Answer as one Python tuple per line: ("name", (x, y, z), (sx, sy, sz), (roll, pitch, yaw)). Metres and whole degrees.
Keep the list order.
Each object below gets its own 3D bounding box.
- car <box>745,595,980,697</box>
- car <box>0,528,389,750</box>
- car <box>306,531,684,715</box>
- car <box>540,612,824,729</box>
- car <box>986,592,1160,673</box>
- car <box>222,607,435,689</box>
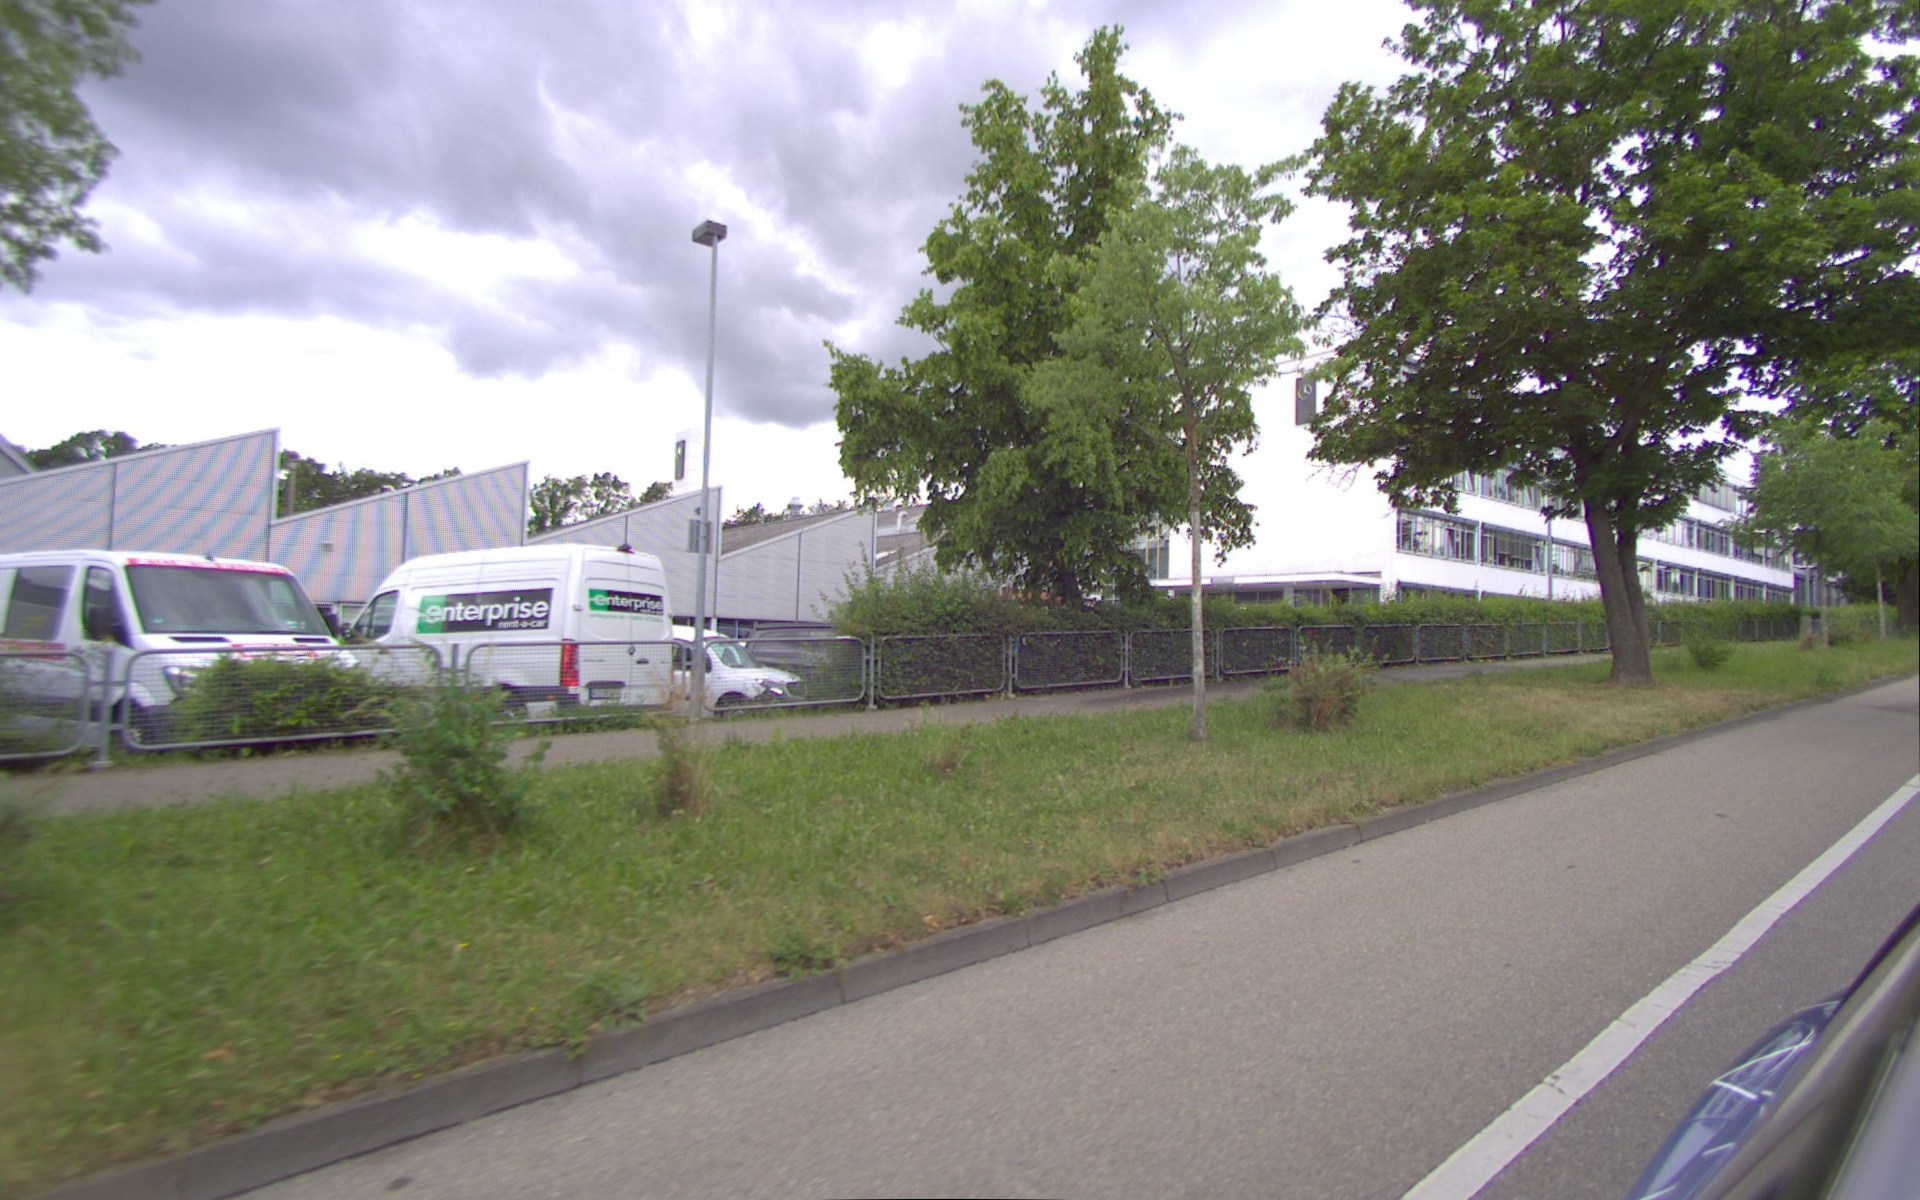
("car", (-1.932, 0.882, 20.196), (4.302, 1.867, 1.909), (-1, -1, 21))
("car", (-9.119, 0.396, 11.348), (5.774, 1.982, 2.051), (-1, -1, 29))
("car", (-6.611, 0.320, 14.307), (5.207, 2.216, 2.053), (-1, -1, 26))
("car", (-4.932, 1.181, 17.983), (4.672, 1.867, 1.909), (-1, -1, 21))
("car", (3.082, 0.877, 27.417), (4.503, 2.060, 2.065), (-1, -1, 11))
("car", (-14.862, 1.063, 24.043), (1.787, 1.775, 3.962), (-1, -1, 27))
